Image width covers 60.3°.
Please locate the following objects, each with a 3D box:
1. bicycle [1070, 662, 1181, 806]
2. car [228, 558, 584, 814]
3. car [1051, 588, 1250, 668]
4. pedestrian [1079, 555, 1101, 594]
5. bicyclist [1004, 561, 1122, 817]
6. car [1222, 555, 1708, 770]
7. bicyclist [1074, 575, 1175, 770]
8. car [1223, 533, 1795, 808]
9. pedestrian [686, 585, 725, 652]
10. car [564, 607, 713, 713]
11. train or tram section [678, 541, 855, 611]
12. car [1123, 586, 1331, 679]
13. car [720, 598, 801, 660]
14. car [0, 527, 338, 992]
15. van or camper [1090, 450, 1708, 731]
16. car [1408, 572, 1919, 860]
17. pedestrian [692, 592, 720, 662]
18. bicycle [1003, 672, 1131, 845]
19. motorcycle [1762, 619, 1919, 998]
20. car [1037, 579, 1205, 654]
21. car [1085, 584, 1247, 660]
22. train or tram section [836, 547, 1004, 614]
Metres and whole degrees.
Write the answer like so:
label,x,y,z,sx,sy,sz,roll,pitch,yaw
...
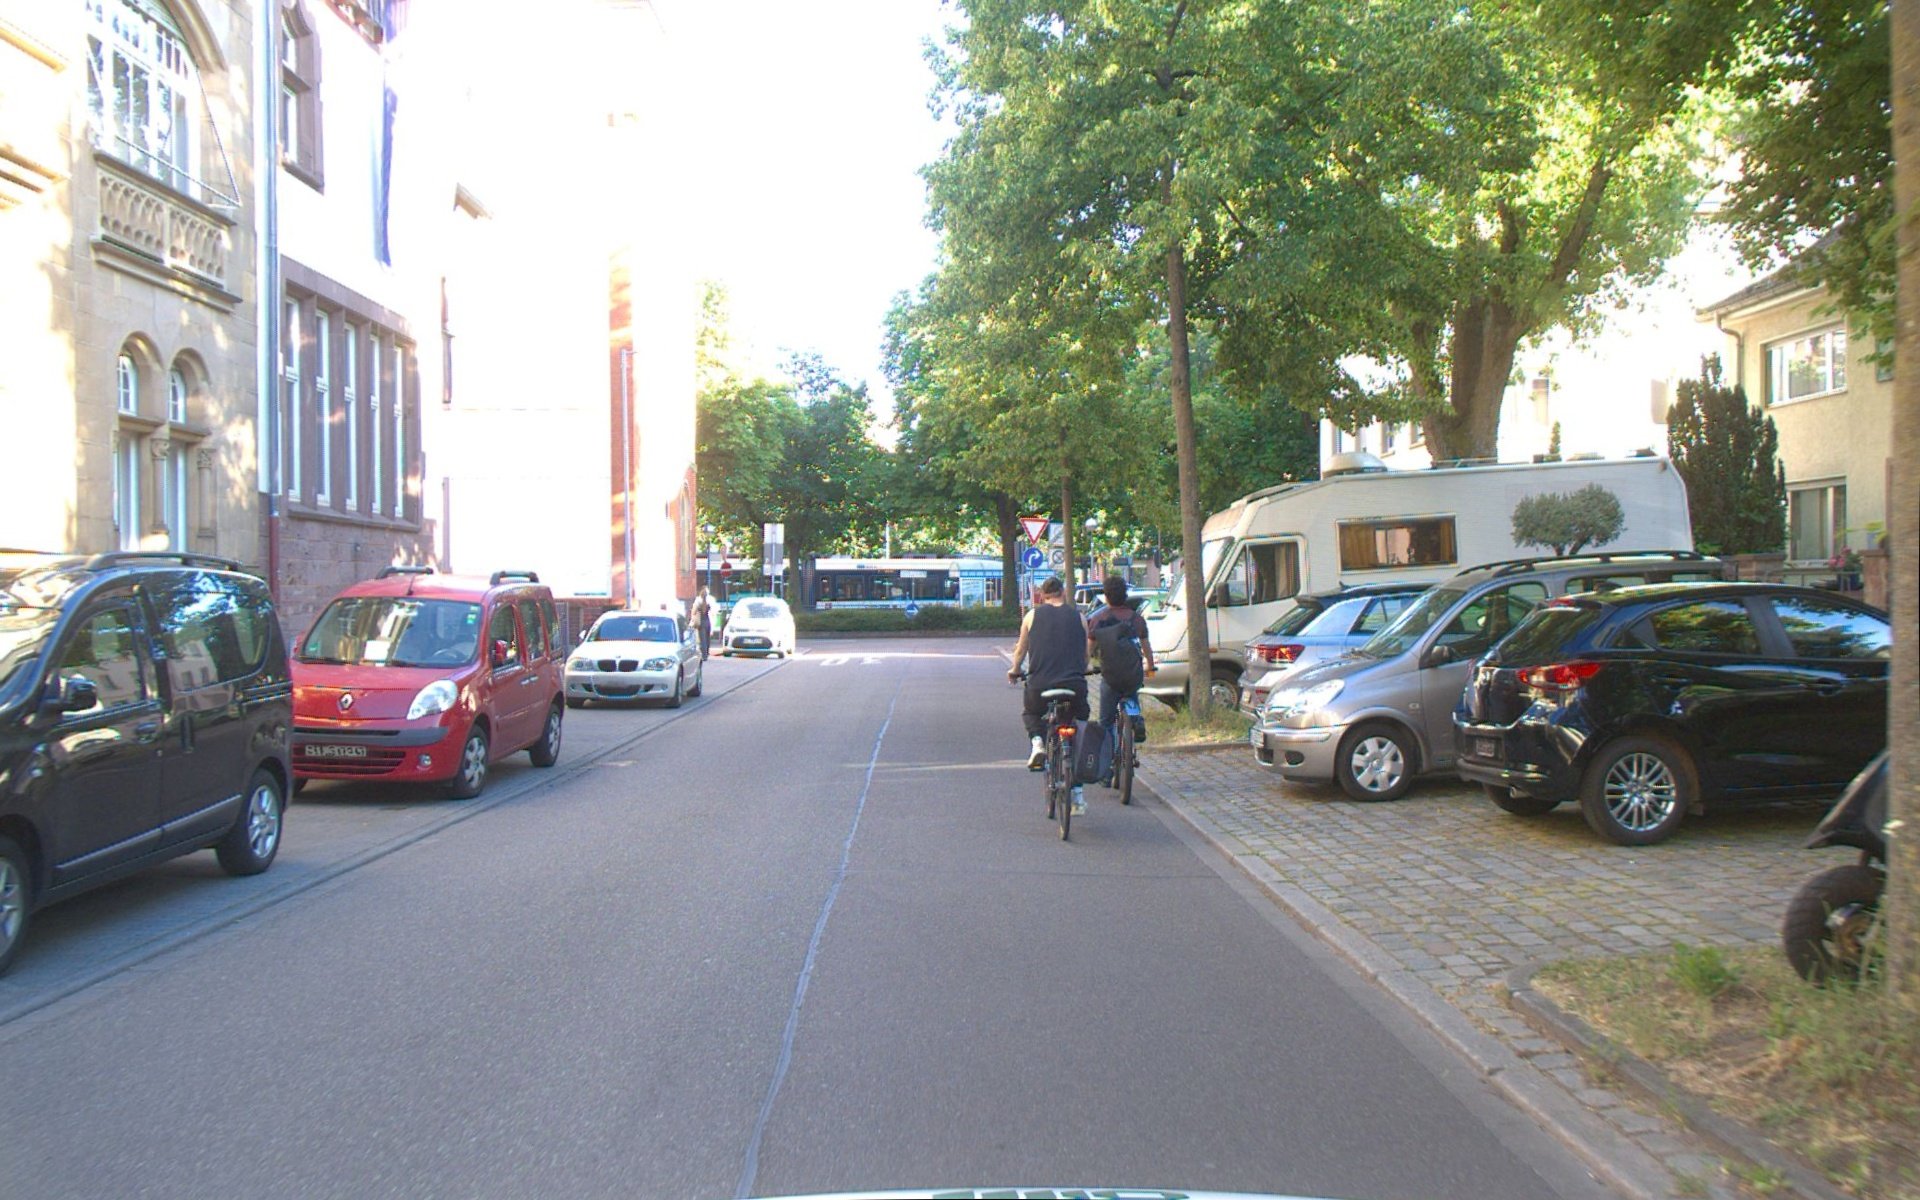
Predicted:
label,x,y,z,sx,sy,sz,roll,pitch,yaw
bicycle,1.348,1.077,13.841,0.660,1.072,2.060,-1,-1,-1
car,-4.751,0.662,14.883,1.762,1.940,4.324,1,0,-1
car,4.066,0.583,35.750,4.022,1.436,1.792,-4,0,-1
pedestrian,5.741,-1.123,72.978,0.896,1.713,0.781,-1,0,9
bicyclist,0.708,0.600,11.632,0.737,1.711,0.913,-1,0,-1
car,4.556,0.559,15.404,3.881,1.626,1.903,-4,-1,1
bicyclist,1.345,0.583,13.675,0.658,1.541,1.068,-1,-1,-3
car,4.173,0.520,13.002,3.835,1.774,1.729,-3,-1,-1
pedestrian,-6.495,0.473,42.199,0.849,1.672,0.860,-1,0,-1
car,-4.917,0.872,25.765,1.709,1.492,4.101,0,0,-3
train or tram section,-9.645,-1.147,82.703,8.305,3.233,2.841,1,0,-24
car,4.890,0.570,30.607,3.517,1.531,1.677,-2,1,-2
car,-5.195,0.732,43.377,1.670,1.511,3.796,1,0,-1
car,-4.776,0.639,8.170,1.734,1.884,4.541,0,0,-1
van or camper,5.236,-0.131,20.437,6.936,3.131,2.463,-1,0,-4
car,5.032,0.637,10.485,3.801,1.498,1.785,-3,-1,-6
pedestrian,-6.037,0.633,39.257,0.589,1.633,0.852,-1,0,-12
bicycle,0.718,1.066,11.681,0.722,1.030,2.061,1,-1,-1
motorcycle,3.653,0.678,5.360,0.732,1.218,1.747,-1,0,-45
car,4.149,0.412,43.071,4.026,1.742,2.022,-2,1,-6
car,4.758,0.493,38.646,3.616,1.680,1.705,-1,0,2
train or tram section,-2.065,-0.975,86.082,8.305,3.257,2.841,1,0,-24
